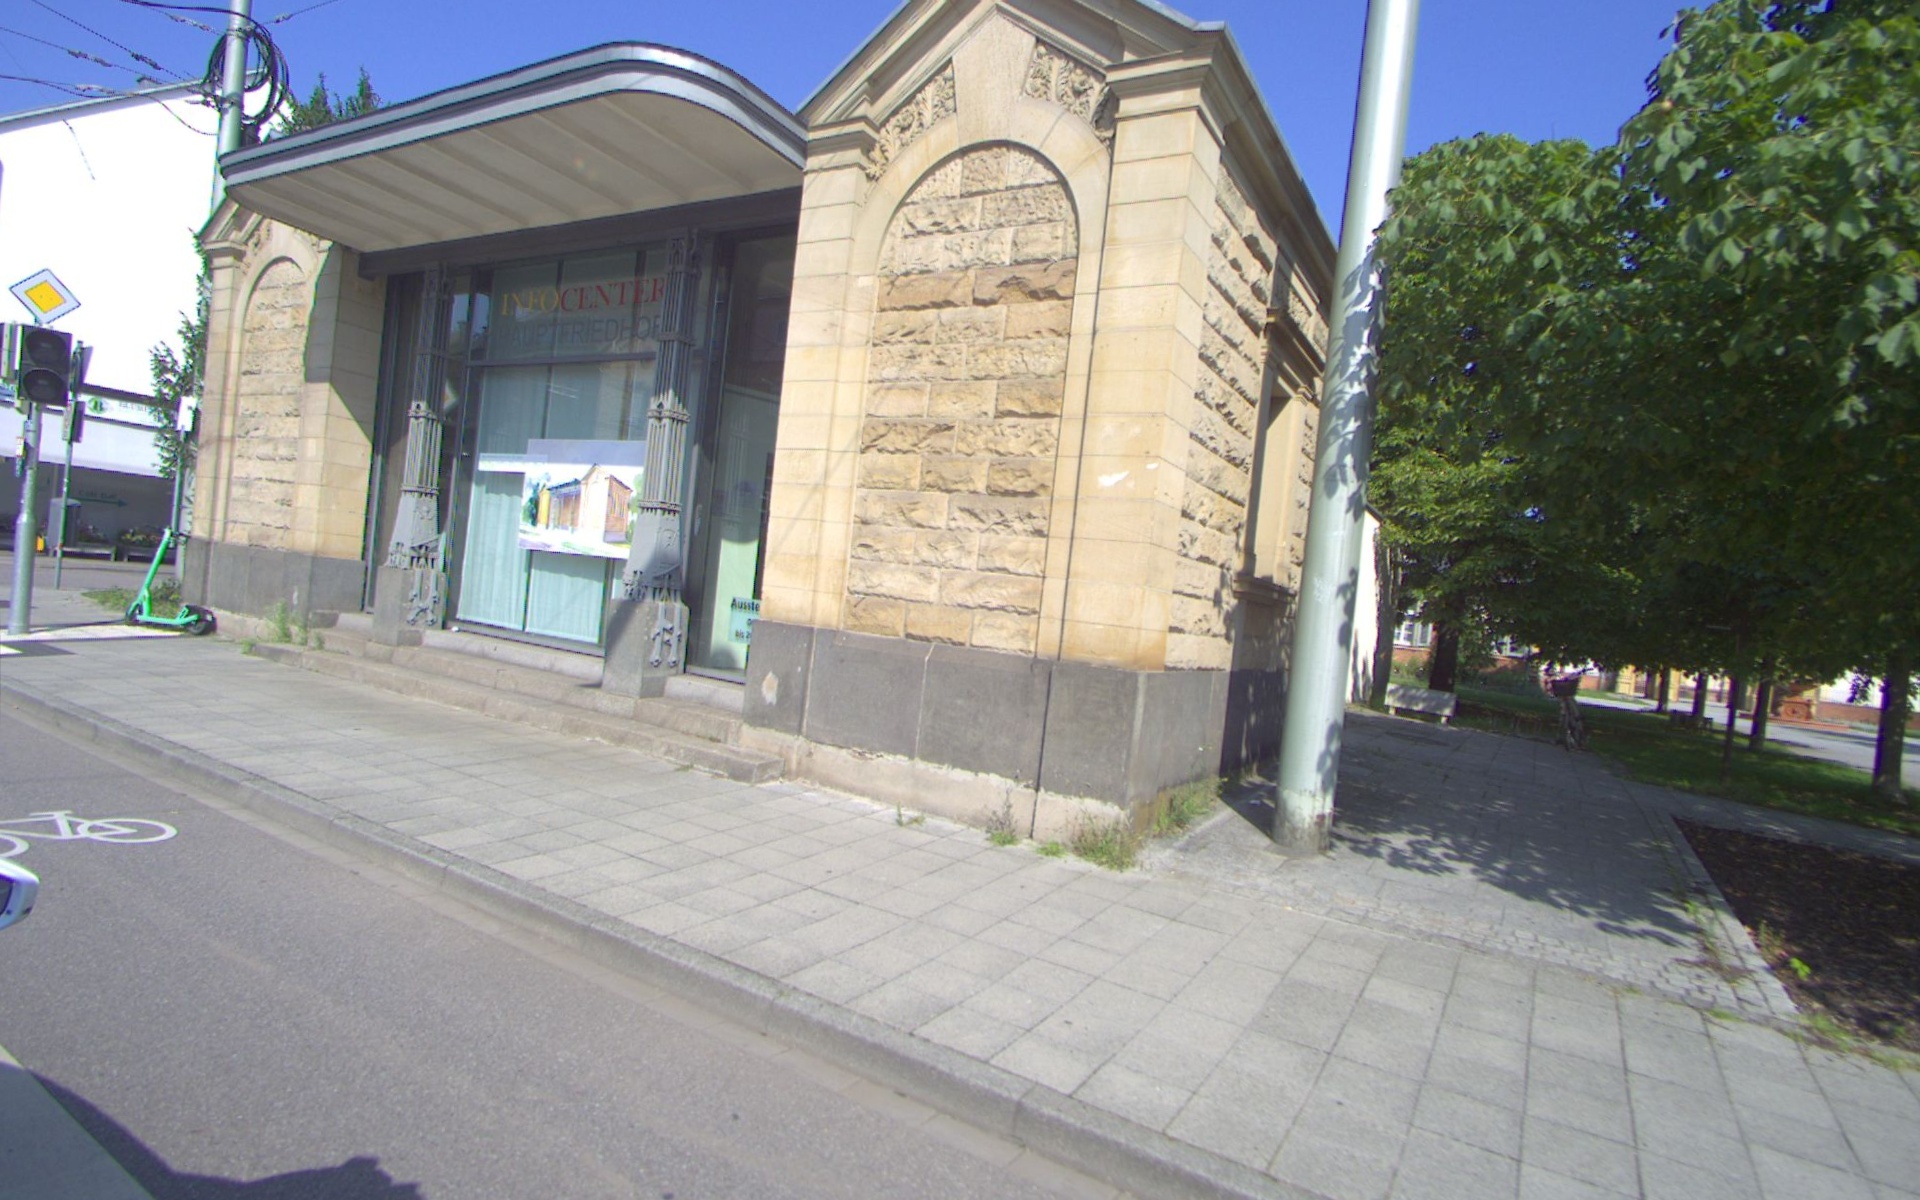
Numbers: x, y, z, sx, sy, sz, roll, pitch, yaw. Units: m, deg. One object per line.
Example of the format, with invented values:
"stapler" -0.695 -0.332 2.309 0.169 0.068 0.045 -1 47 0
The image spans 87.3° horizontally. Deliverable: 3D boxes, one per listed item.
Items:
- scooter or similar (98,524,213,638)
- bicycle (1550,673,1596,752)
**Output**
"scooter or similar" -9.087 -0.223 11.344 1.486 1.149 0.523 6 3 32
"bicycle" 8.644 1.563 14.212 0.420 0.992 1.907 7 0 31
